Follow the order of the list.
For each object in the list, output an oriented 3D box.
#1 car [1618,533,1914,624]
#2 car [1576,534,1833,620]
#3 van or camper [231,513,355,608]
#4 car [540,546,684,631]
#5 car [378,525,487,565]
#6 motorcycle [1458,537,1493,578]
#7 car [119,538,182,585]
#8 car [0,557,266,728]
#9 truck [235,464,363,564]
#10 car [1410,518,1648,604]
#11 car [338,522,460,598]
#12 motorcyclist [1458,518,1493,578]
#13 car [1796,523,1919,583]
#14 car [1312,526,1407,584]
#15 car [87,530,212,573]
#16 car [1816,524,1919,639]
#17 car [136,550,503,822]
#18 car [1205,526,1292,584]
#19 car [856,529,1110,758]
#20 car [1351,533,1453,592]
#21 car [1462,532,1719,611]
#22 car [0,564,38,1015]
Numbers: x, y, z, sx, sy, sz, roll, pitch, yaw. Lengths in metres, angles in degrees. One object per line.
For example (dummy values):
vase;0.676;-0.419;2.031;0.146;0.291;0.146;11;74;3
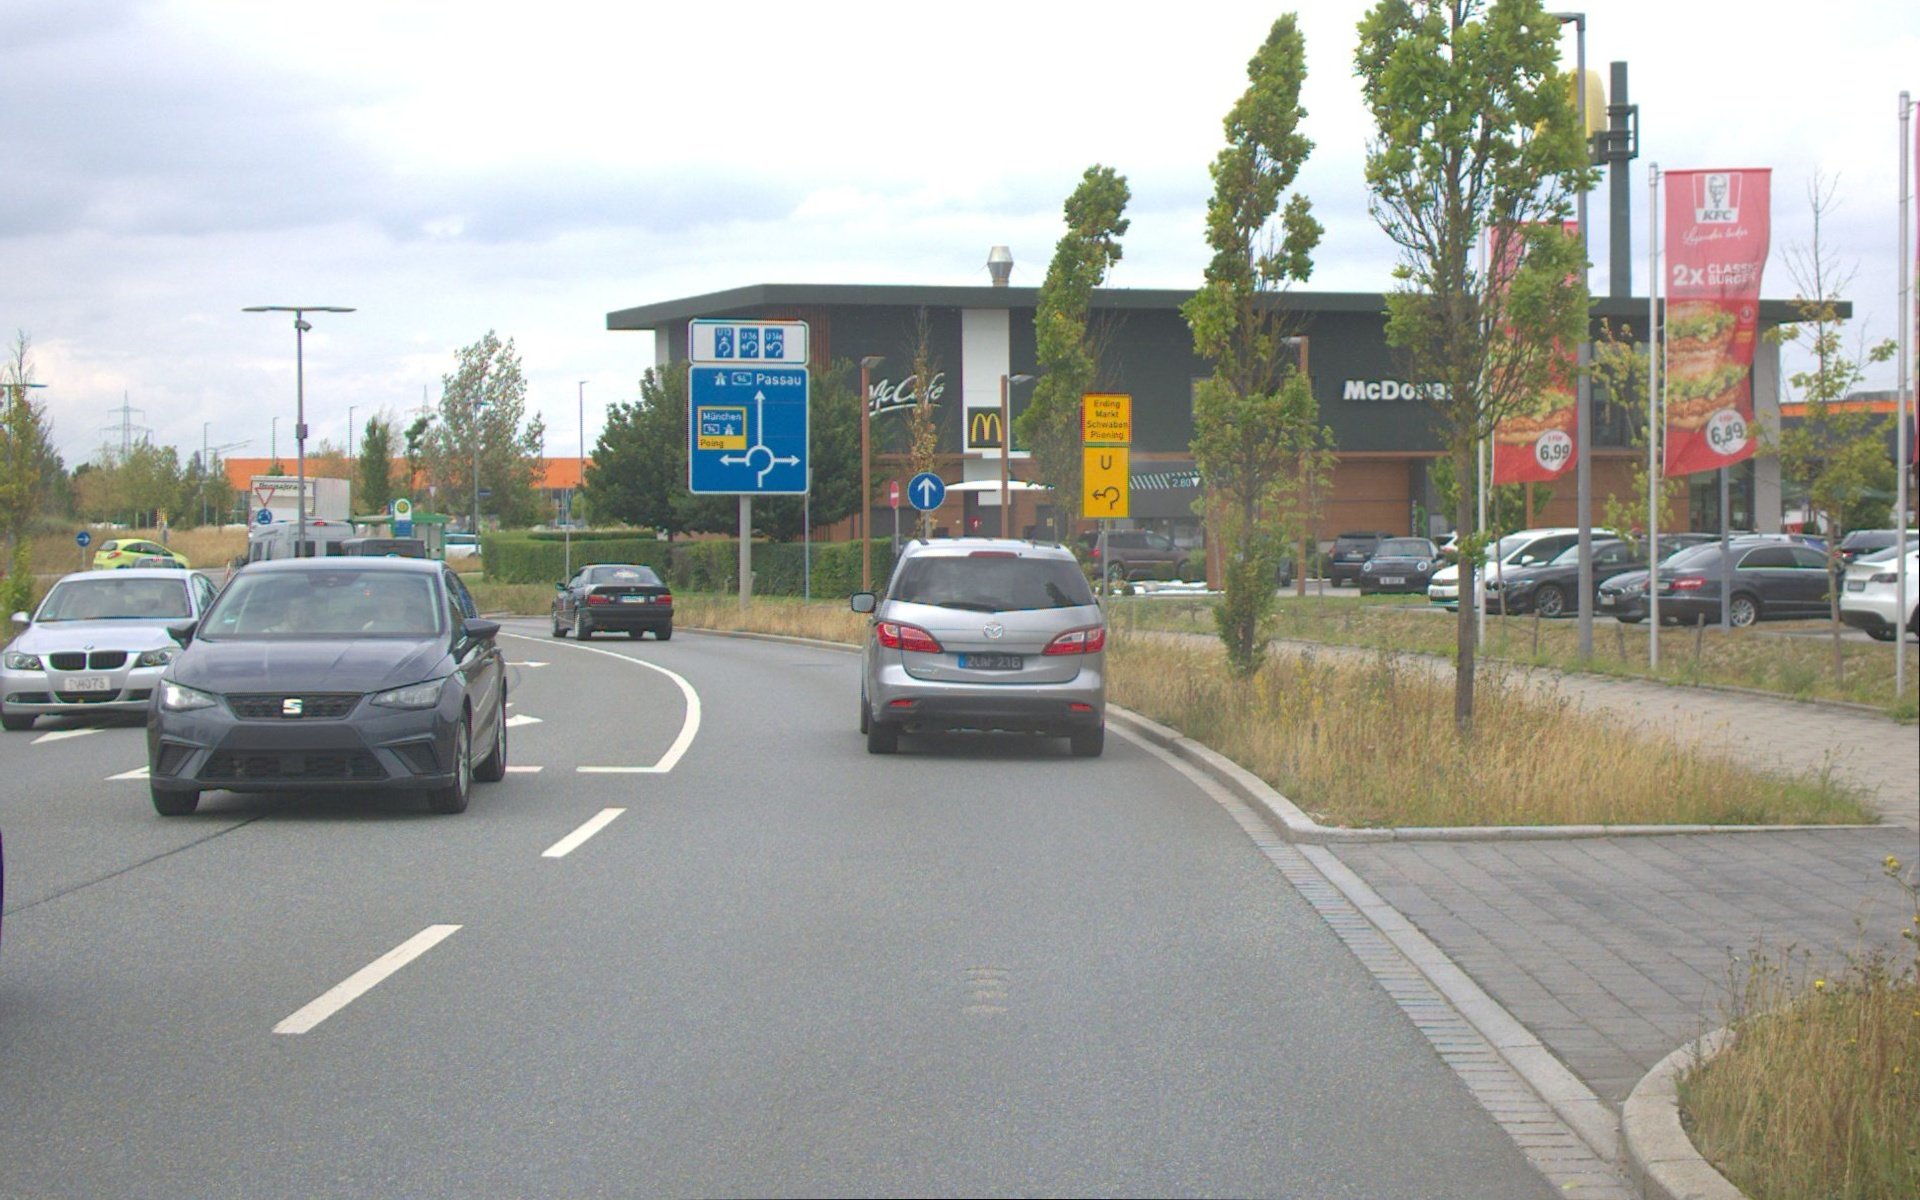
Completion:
car;13.801;-0.387;58.947;4.516;1.464;2.033;-1;2;-16
car;13.401;-0.433;61.900;4.082;1.433;1.943;-1;2;-18
van or camper;-18.168;-1.096;93.518;2.302;2.497;5.207;0;1;-23
car;-6.245;-0.233;61.296;1.844;1.413;4.226;-1;2;-15
car;-23.334;-2.435;152.028;4.601;1.751;2.001;0;1;-13
motorcycle;15.798;-1.300;105.294;0.857;1.240;1.965;0;1;15
car;-27.142;-1.306;115.256;1.993;1.510;4.001;-1;1;-14
car;-7.867;0.347;32.352;1.836;1.412;4.500;-2;1;-2
truck;-26.646;-3.459;139.124;3.133;3.893;9.336;-1;1;1
car;11.436;-0.807;69.109;4.346;1.634;1.938;-1;2;-22
car;-13.926;-0.997;85.113;2.058;1.819;4.787;0;1;-21
motorcyclist;15.794;-1.608;105.303;0.961;1.826;0.845;0;1;15
car;25.914;-1.332;96.303;4.722;1.651;1.998;0;1;18
car;12.244;-1.391;105.072;2.117;1.711;4.227;1;1;17
car;-29.599;-1.778;125.613;1.998;1.510;3.990;0;1;41
car;15.589;-0.348;52.119;4.560;1.639;2.089;-2;1;-11
car;-3.671;0.422;20.335;1.829;1.415;4.247;0;1;-6
car;8.689;-1.362;103.361;1.995;1.711;3.998;0;1;14
car;0.108;0.275;26.217;1.729;1.594;3.807;1;1;-2
car;10.359;-0.894;80.336;1.812;1.308;3.847;0;2;16
car;12.228;-0.576;66.716;4.466;1.431;2.074;-1;2;-19
car;-3.890;0.623;9.282;1.769;1.433;4.231;0;0;-2
